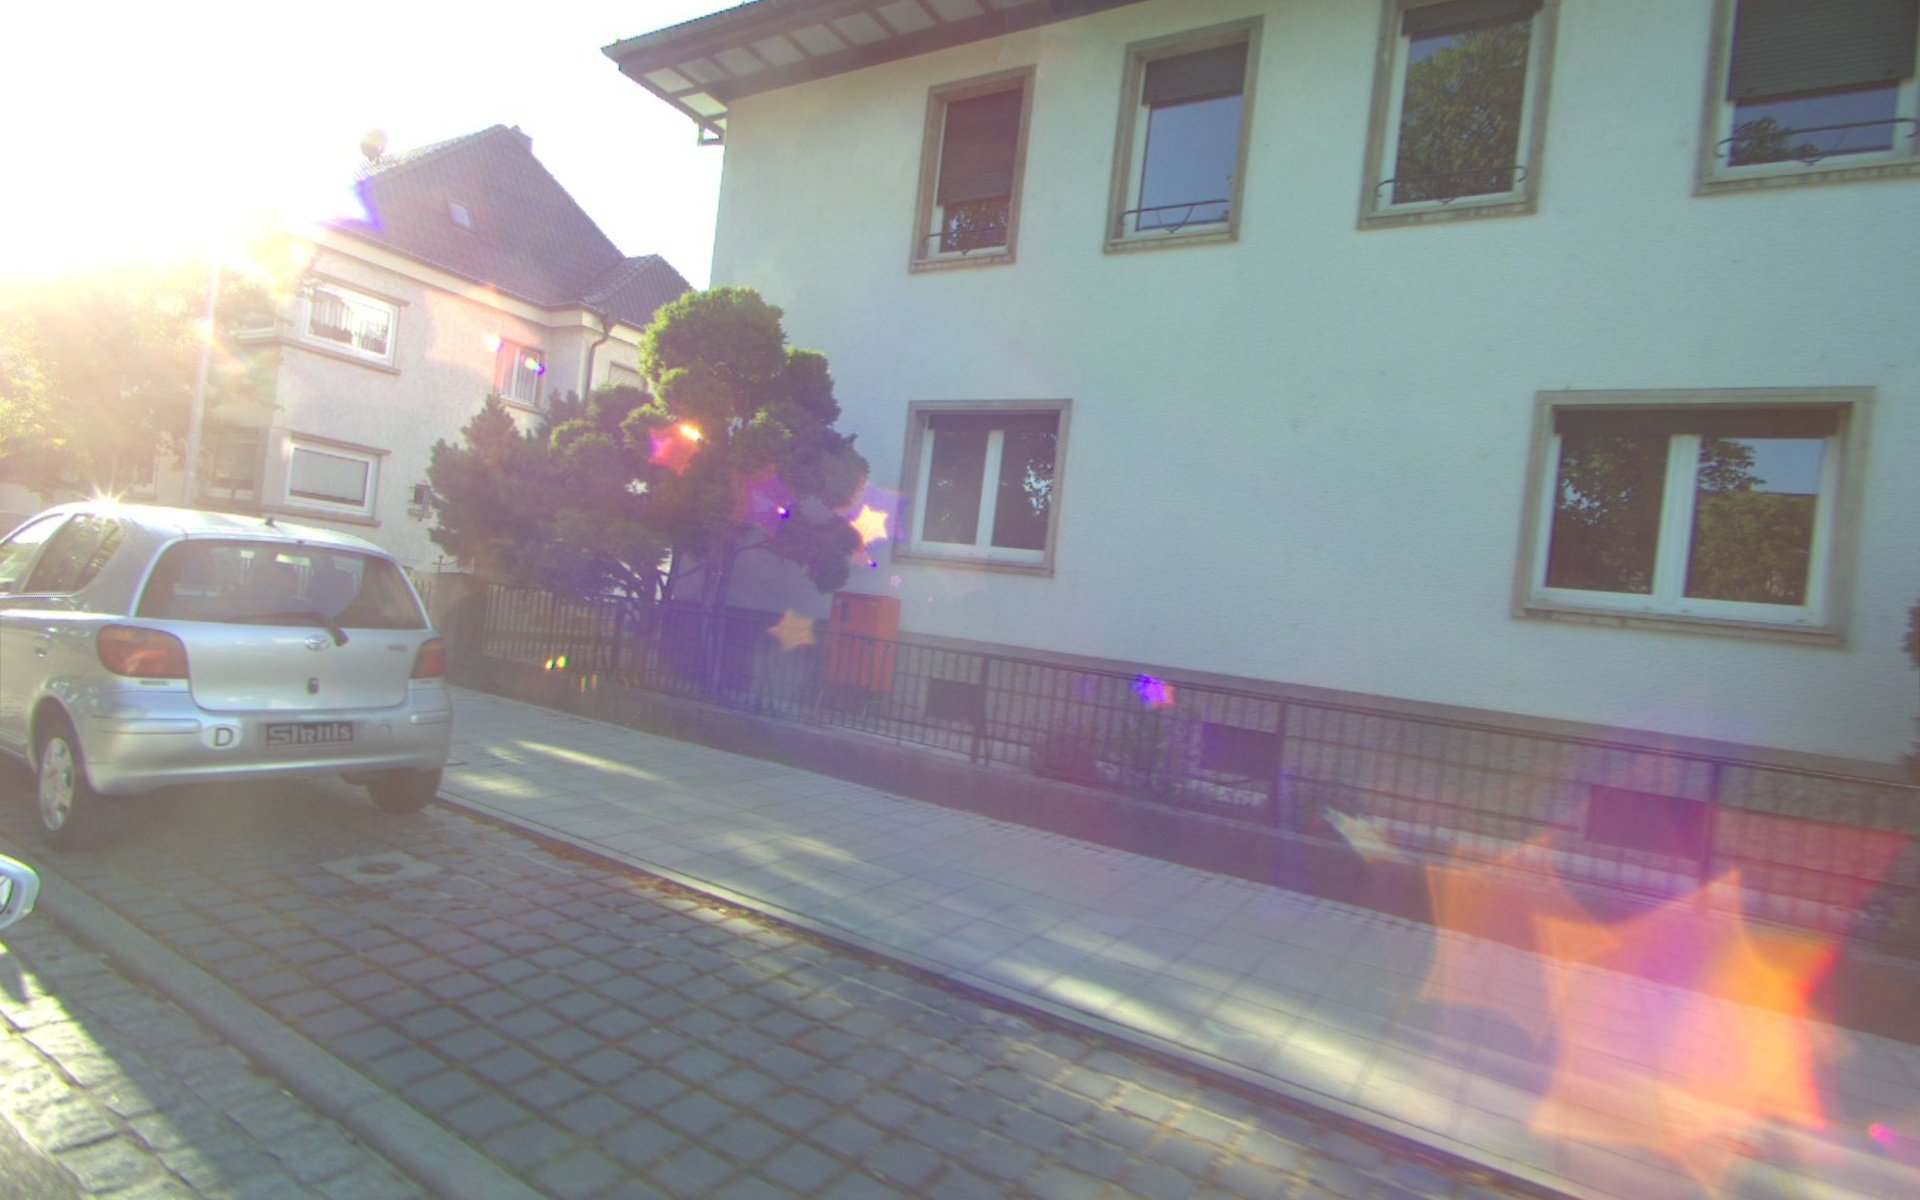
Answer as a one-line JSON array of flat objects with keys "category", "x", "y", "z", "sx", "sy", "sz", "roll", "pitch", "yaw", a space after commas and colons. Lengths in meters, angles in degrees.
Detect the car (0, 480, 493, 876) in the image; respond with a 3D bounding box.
[{"category": "car", "x": -4.468, "y": 0.206, "z": 5.614, "sx": 3.573, "sy": 1.524, "sz": 1.628, "roll": 7, "pitch": 1, "yaw": 33}]
